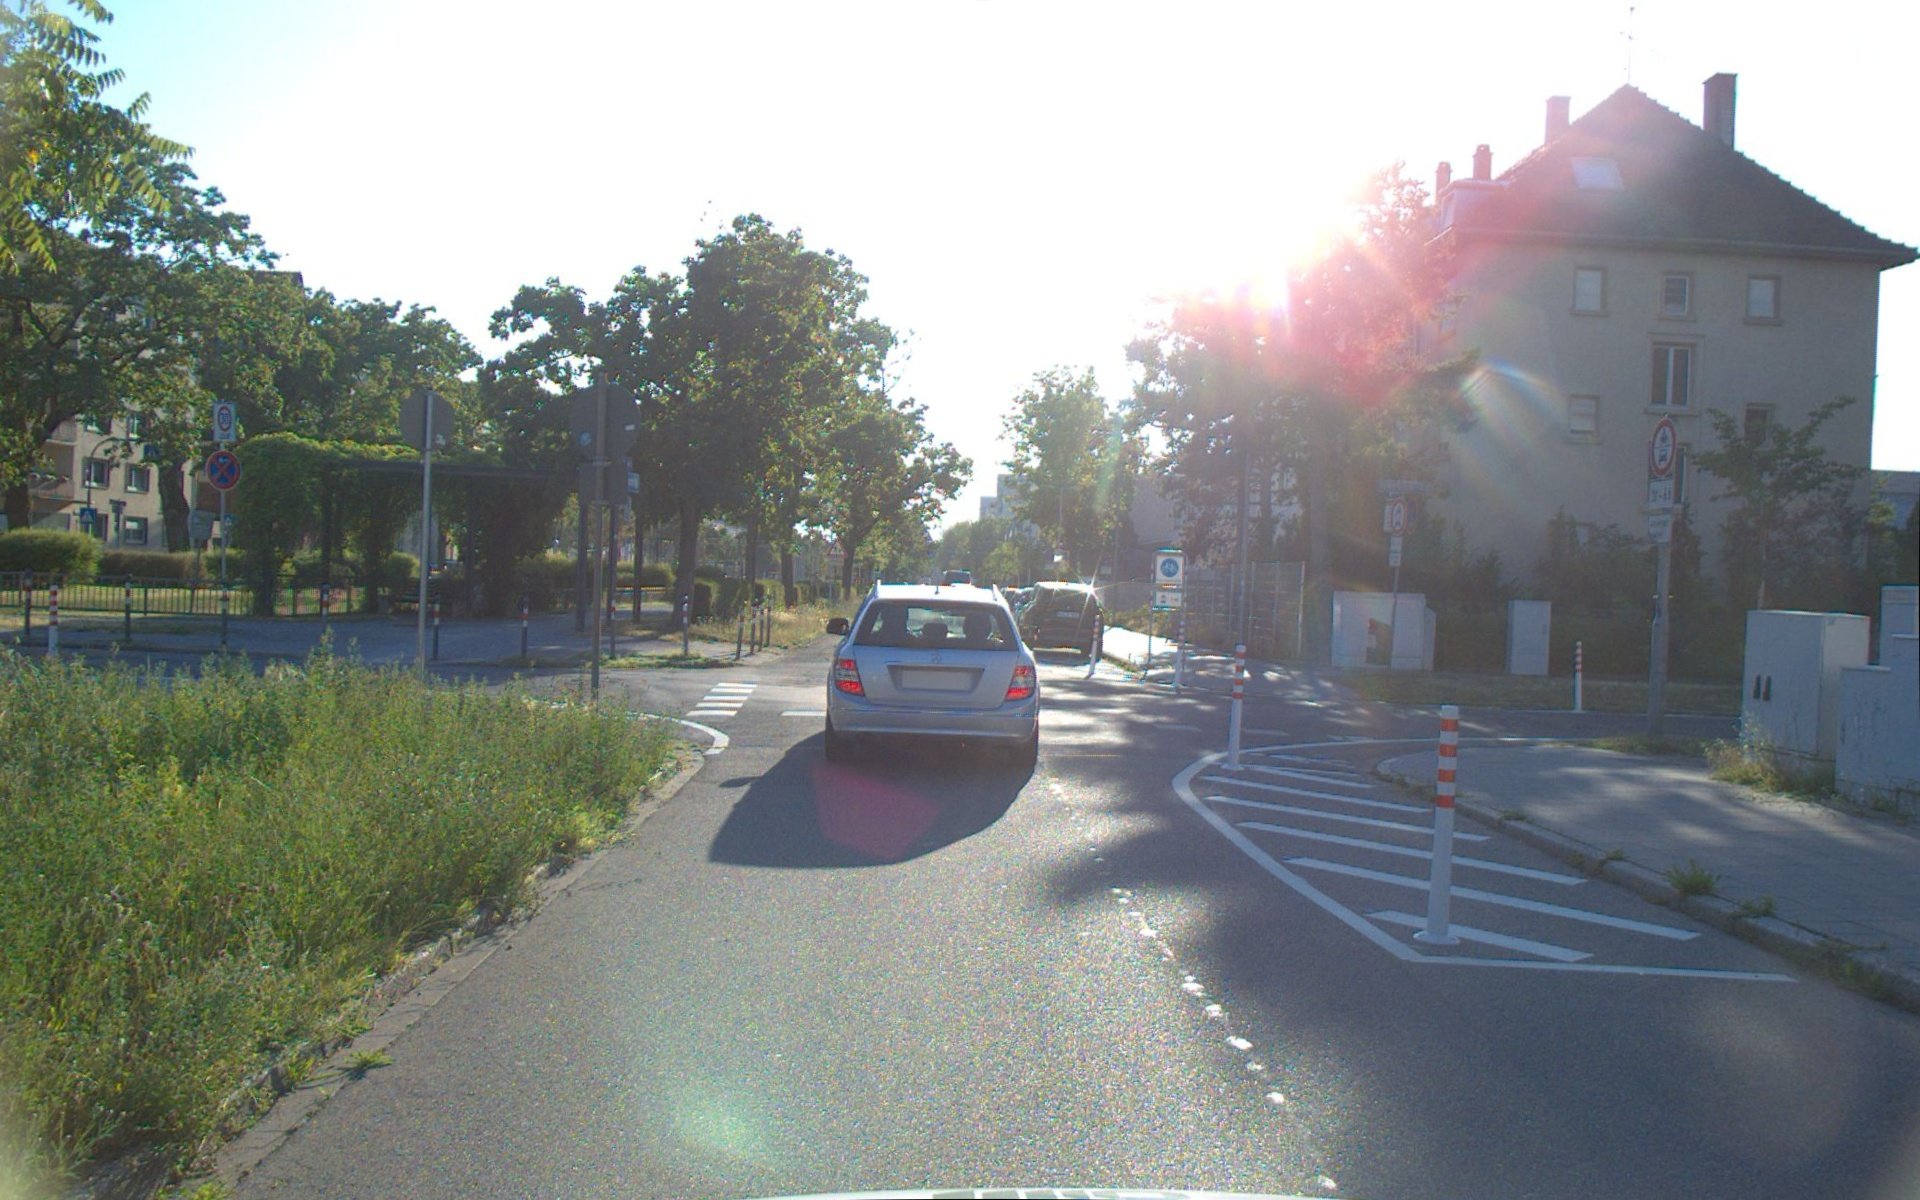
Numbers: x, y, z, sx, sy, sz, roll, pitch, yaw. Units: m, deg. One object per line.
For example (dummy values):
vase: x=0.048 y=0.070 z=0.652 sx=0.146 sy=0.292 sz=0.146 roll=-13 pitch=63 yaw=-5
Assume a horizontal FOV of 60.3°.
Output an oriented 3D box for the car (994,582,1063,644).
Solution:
car: x=1.922 y=0.345 z=47.183 sx=1.686 sy=1.624 sz=3.999 roll=2 pitch=0 yaw=-1

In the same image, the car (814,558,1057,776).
car: x=-0.208 y=0.462 z=14.351 sx=1.786 sy=1.593 sz=4.000 roll=1 pitch=1 yaw=-1

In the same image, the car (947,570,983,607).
car: x=0.275 y=-0.664 z=96.361 sx=1.948 sy=2.058 sz=3.999 roll=2 pitch=0 yaw=-1

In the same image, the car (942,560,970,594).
car: x=-0.283 y=-1.561 z=114.505 sx=1.823 sy=2.231 sz=5.069 roll=2 pitch=0 yaw=-1

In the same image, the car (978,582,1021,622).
car: x=1.703 y=0.053 z=72.627 sx=1.686 sy=1.624 sz=3.999 roll=2 pitch=0 yaw=-1

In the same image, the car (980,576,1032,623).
car: x=1.688 y=-0.046 z=61.461 sx=1.686 sy=1.624 sz=3.999 roll=2 pitch=0 yaw=-1

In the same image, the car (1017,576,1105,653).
car: x=2.284 y=0.327 z=38.191 sx=1.686 sy=1.625 sz=3.999 roll=2 pitch=0 yaw=-1

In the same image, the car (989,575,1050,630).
car: x=1.852 y=0.046 z=52.805 sx=1.686 sy=1.624 sz=3.999 roll=2 pitch=0 yaw=-1

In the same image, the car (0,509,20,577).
car: x=-42.447 y=-2.475 z=68.287 sx=6.233 sy=2.767 sz=1.981 roll=2 pitch=1 yaw=-32
